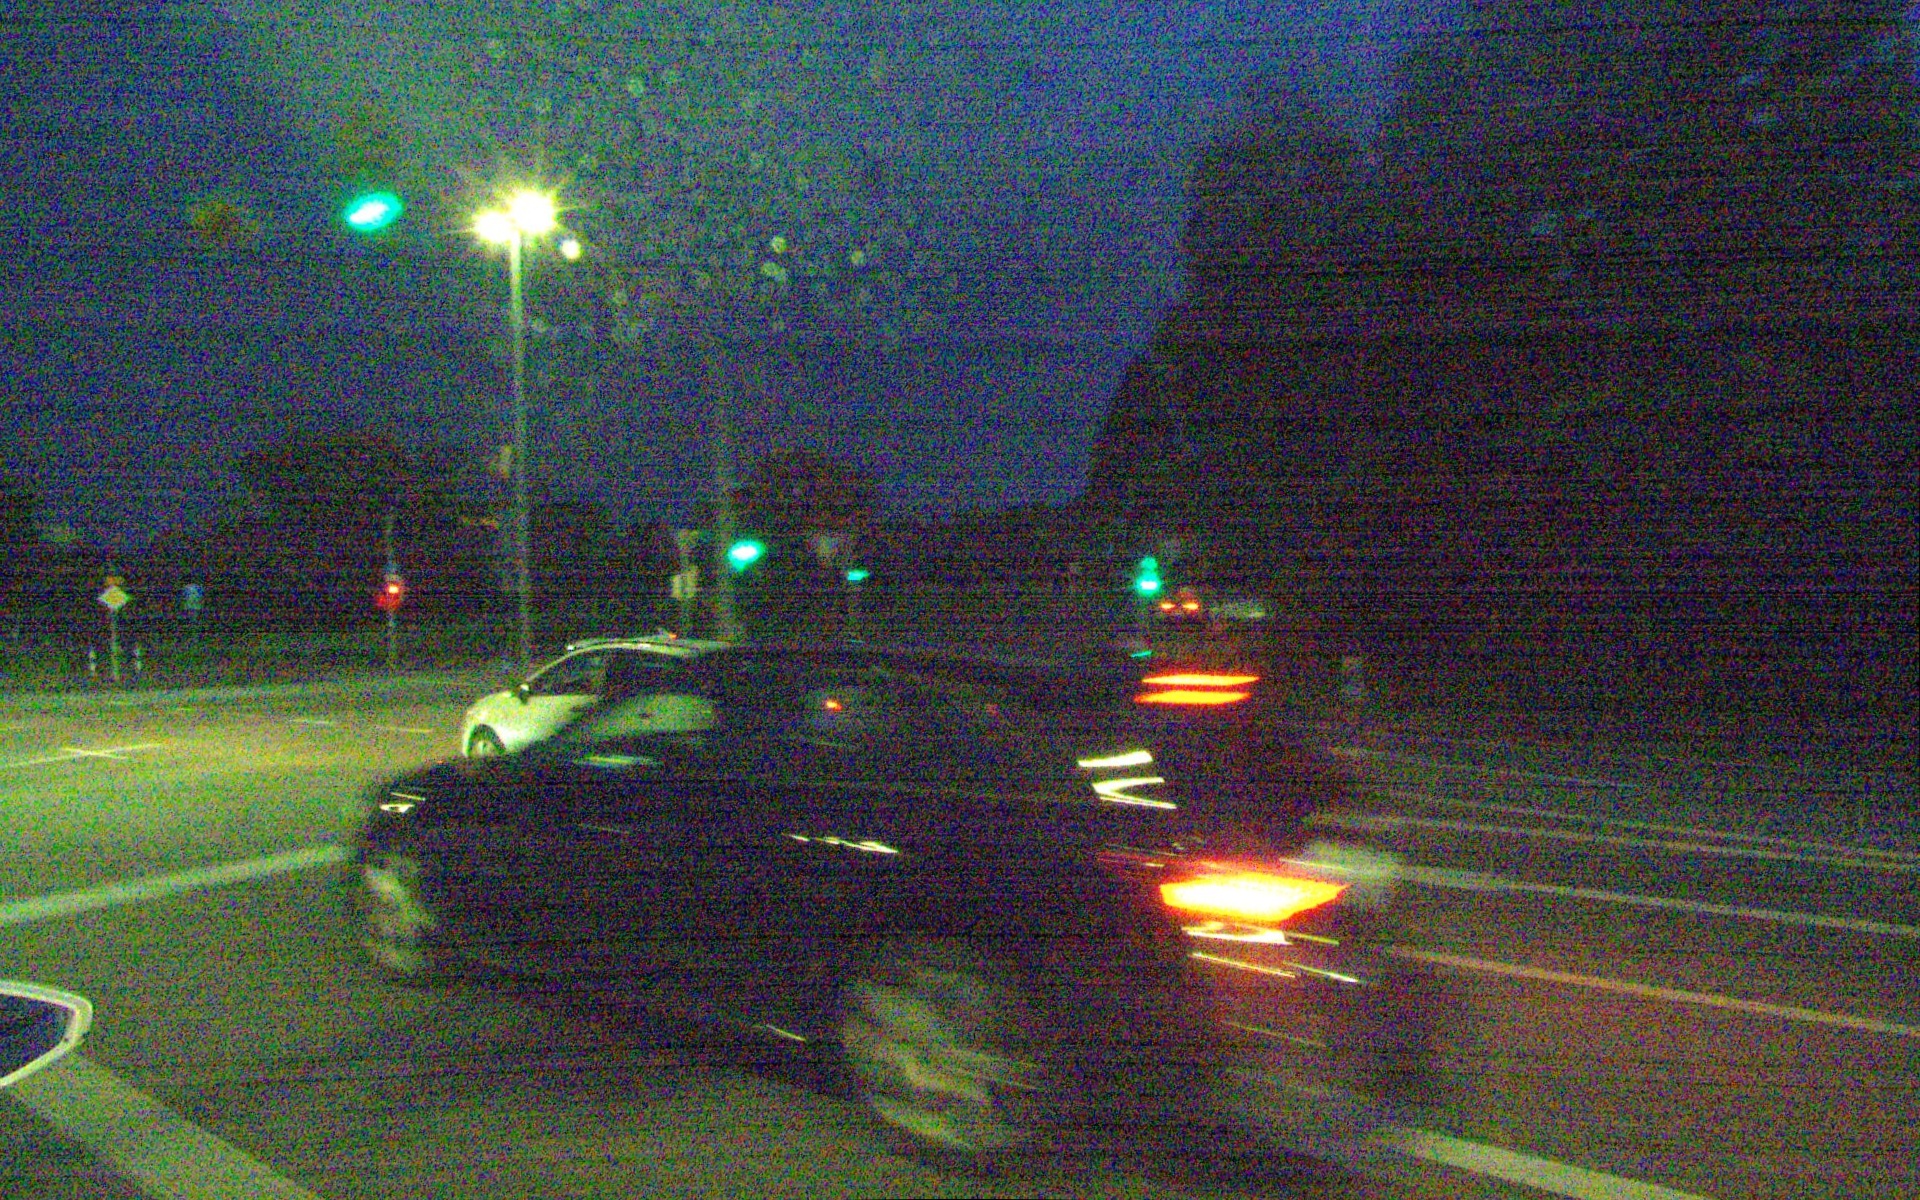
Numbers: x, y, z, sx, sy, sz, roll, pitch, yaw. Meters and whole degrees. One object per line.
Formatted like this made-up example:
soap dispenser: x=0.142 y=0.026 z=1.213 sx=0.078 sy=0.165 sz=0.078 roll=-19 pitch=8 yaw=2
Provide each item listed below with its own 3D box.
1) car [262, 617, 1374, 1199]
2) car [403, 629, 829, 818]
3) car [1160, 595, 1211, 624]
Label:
car: x=-0.830 y=0.857 z=4.143 sx=4.470 sy=1.461 sz=1.787 roll=-2 pitch=-3 yaw=32
car: x=-3.373 y=1.031 z=9.623 sx=4.057 sy=1.462 sz=1.617 roll=-1 pitch=-1 yaw=30
car: x=12.953 y=0.523 z=57.393 sx=1.715 sy=1.593 sz=4.040 roll=-2 pitch=0 yaw=30
